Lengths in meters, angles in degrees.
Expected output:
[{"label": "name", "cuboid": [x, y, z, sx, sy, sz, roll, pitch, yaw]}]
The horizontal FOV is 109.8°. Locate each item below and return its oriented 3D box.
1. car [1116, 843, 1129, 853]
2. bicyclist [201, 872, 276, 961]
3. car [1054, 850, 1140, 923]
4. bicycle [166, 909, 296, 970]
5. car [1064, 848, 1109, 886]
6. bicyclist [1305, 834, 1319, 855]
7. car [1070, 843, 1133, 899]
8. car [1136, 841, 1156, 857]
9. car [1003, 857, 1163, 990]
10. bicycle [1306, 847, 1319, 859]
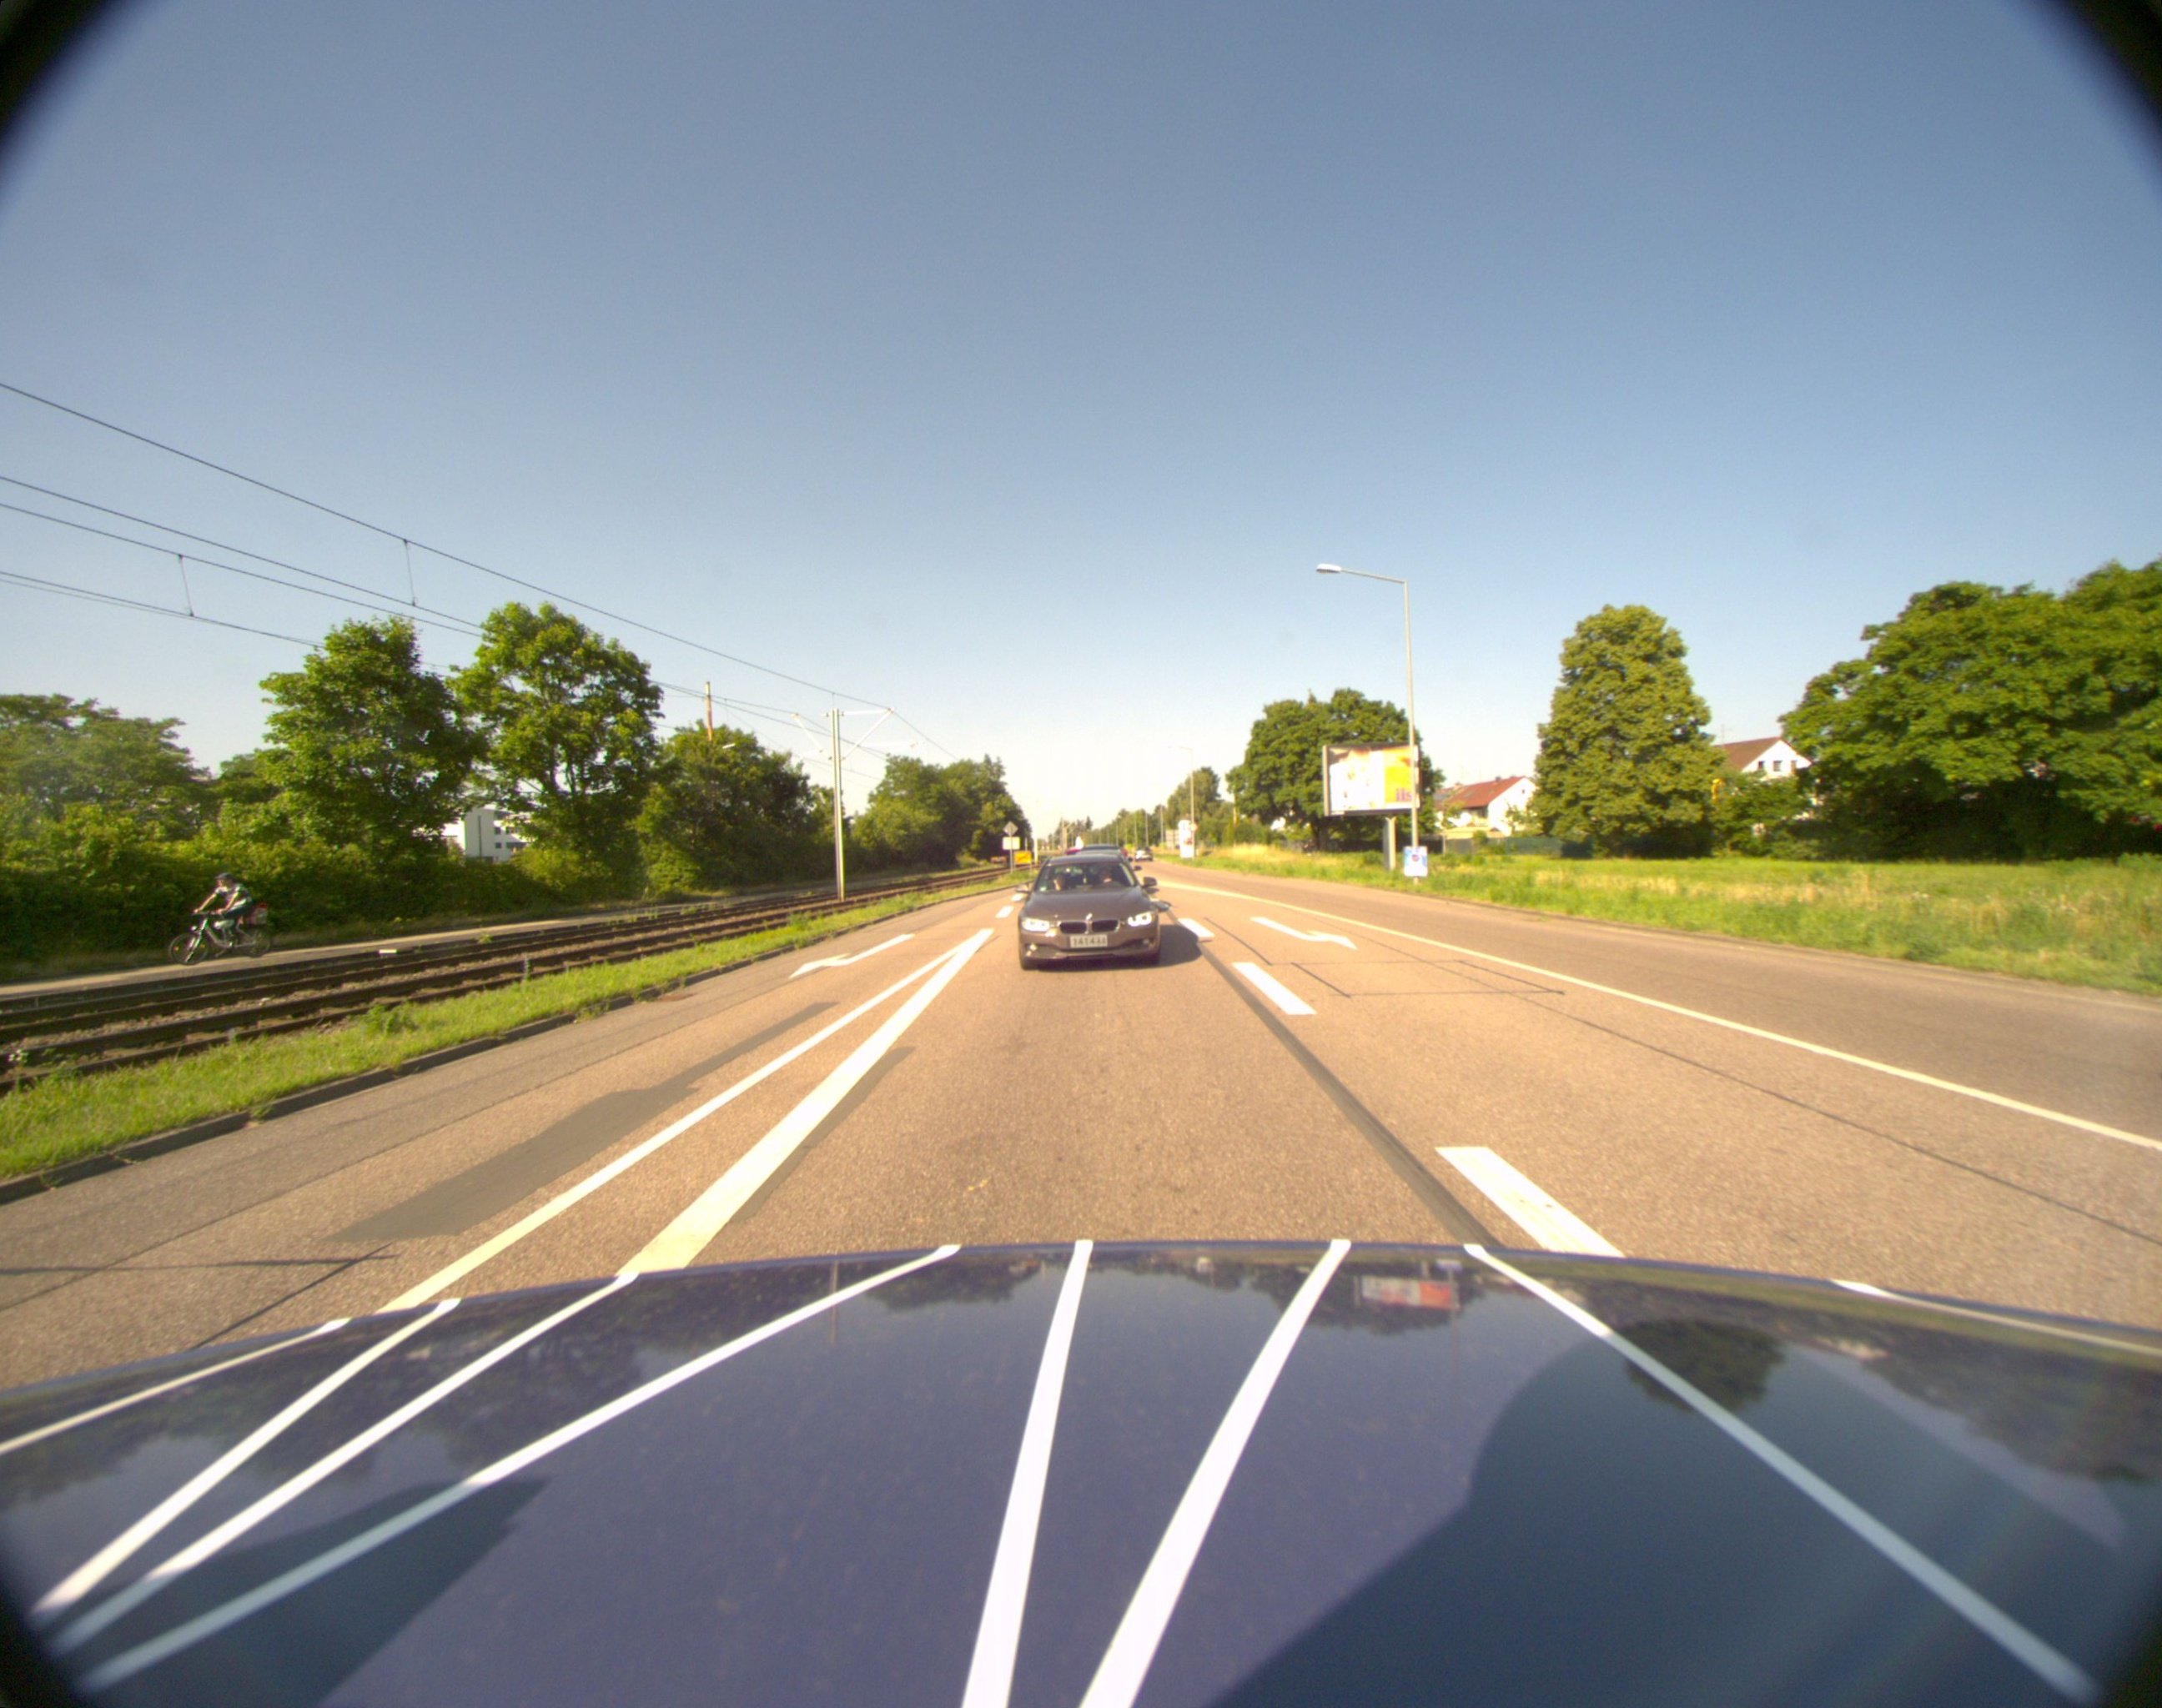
[{"label": "car", "cuboid": [6.287, -0.880, 115.256, 1.698, 1.490, 3.675, -1, 1, 1]}, {"label": "bicyclist", "cuboid": [-17.940, 1.316, 16.193, 0.708, 1.797, 0.717, -2, 1, 3]}, {"label": "car", "cuboid": [0.396, 0.691, 18.694, 1.821, 1.481, 4.610, -2, 1, 1]}, {"label": "bicycle", "cuboid": [-17.942, 1.780, 16.110, 0.546, 1.041, 1.874, -2, 1, 3]}, {"label": "car", "cuboid": [0.279, 0.513, 32.962, 1.807, 1.498, 4.197, -2, 1, 1]}, {"label": "bicyclist", "cuboid": [16.169, -0.688, 53.148, 0.638, 1.420, 1.071, -2, 1, 2]}, {"label": "car", "cuboid": [0.673, 0.491, 25.495, 1.821, 1.641, 4.610, -3, 1, 1]}, {"label": "car", "cuboid": [6.390, -0.511, 74.573, 1.637, 1.551, 3.675, -1, 1, 1]}, {"label": "car", "cuboid": [0.078, 0.831, 11.205, 1.821, 1.416, 4.461, -3, 1, 1]}, {"label": "bicycle", "cuboid": [16.197, -0.075, 53.192, 0.455, 0.749, 1.834, -2, 1, 2]}]
